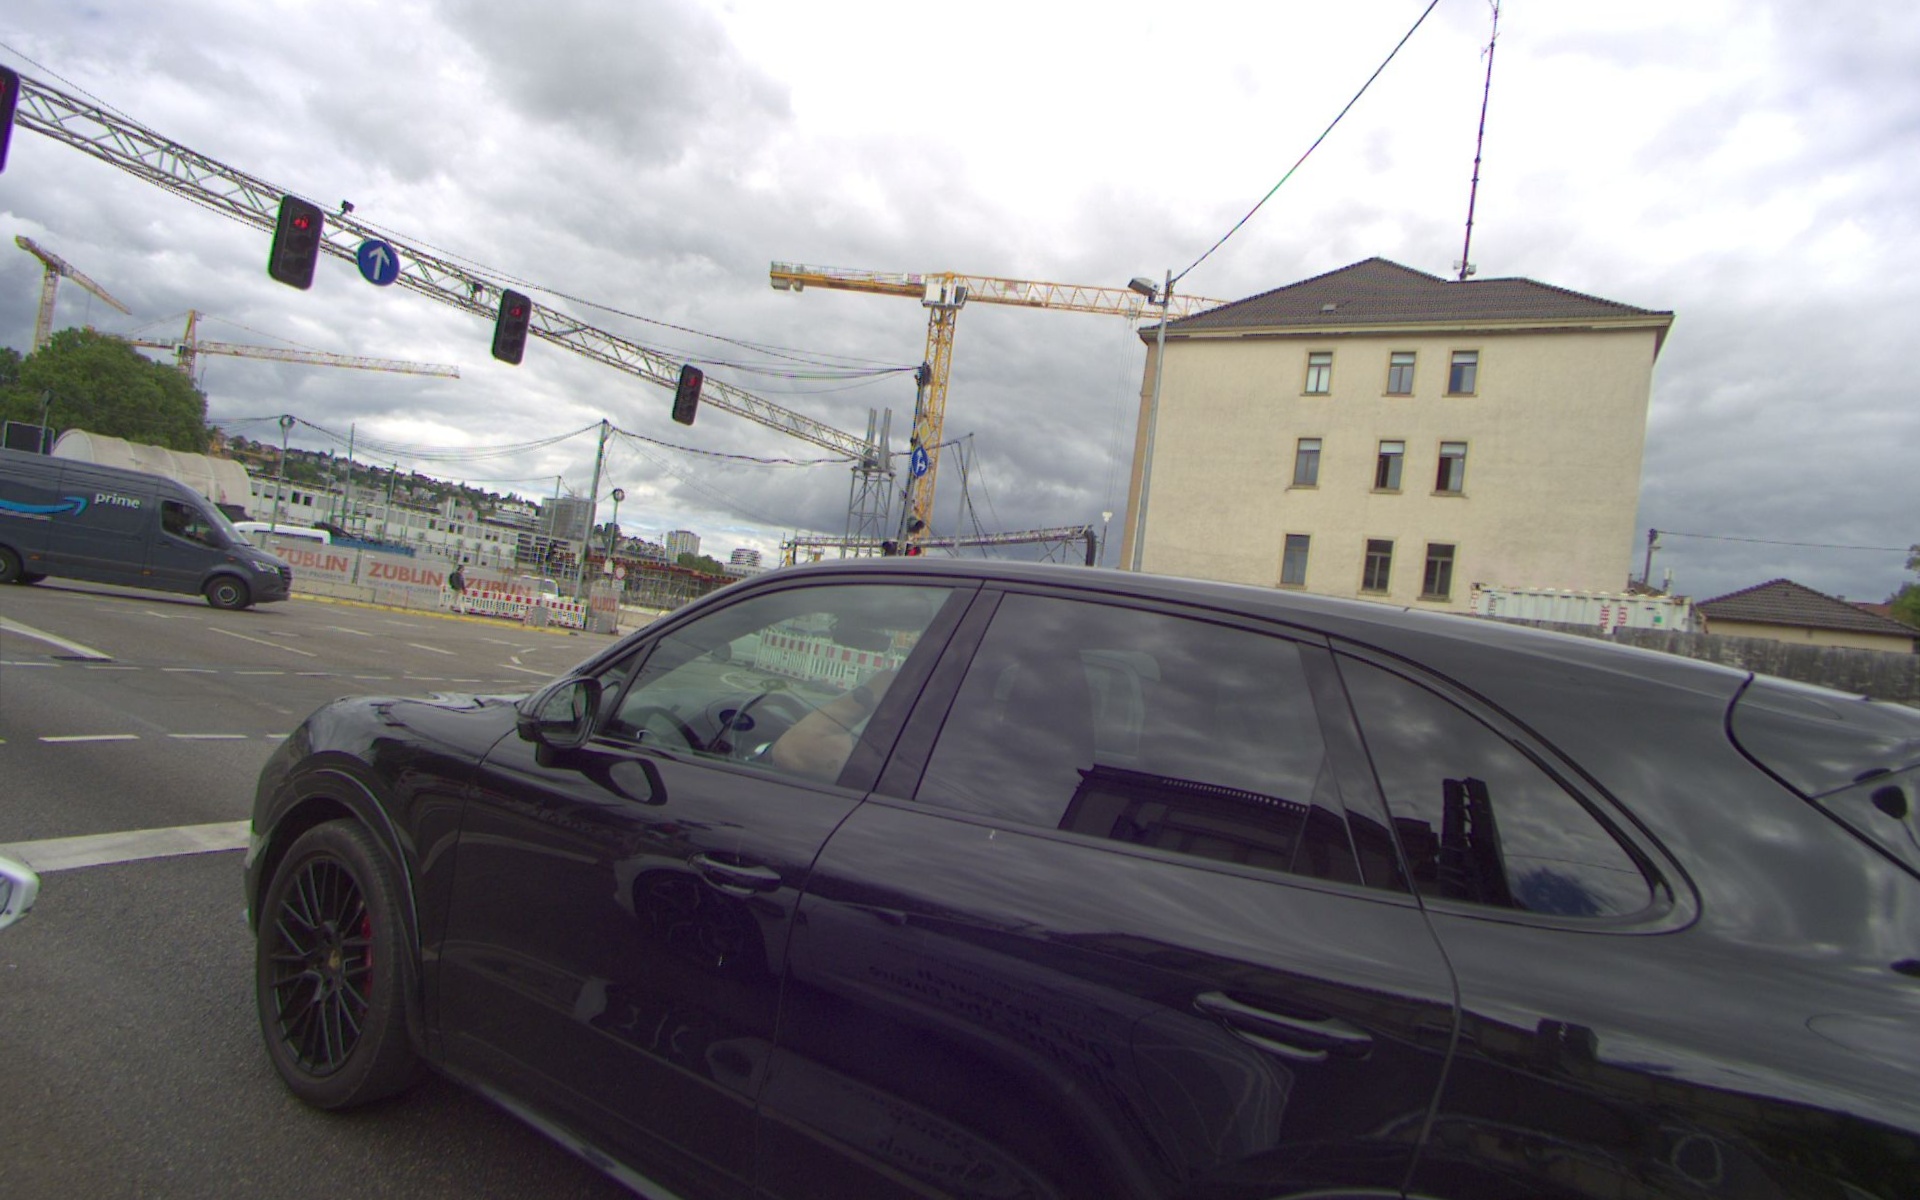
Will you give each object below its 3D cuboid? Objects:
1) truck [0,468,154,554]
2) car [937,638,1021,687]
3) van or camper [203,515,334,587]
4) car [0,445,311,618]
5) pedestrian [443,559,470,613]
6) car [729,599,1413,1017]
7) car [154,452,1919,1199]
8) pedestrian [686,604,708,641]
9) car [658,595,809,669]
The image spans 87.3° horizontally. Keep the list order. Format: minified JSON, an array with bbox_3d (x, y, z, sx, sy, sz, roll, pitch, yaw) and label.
[{"bbox_3d":[-57.896,-5.806,61.936,3.875,4.086,13.088,8,-2,12],"label":"truck"},{"bbox_3d":[0.900,2.791,44.534,1.770,1.687,4.062,6,-3,31],"label":"car"},{"bbox_3d":[-29.808,-2.078,43.419,4.204,2.384,1.976,10,-3,-44],"label":"van or camper"},{"bbox_3d":[-17.211,-1.390,20.786,5.948,2.623,2.050,9,-2,-28],"label":"car"},{"bbox_3d":[-19.645,-0.540,39.281,0.647,2.037,0.513,8,-1,-33],"label":"pedestrian"},{"bbox_3d":[0.595,1.050,6.380,3.818,1.561,1.667,7,-2,33],"label":"car"},{"bbox_3d":[0.038,0.722,2.704,4.559,1.705,1.959,7,-2,33],"label":"car"},{"bbox_3d":[-13.450,1.165,51.523,0.607,1.816,0.654,7,-1,23],"label":"pedestrian"},{"bbox_3d":[-7.020,1.054,31.668,1.854,1.755,4.438,7,-3,34],"label":"car"}]
